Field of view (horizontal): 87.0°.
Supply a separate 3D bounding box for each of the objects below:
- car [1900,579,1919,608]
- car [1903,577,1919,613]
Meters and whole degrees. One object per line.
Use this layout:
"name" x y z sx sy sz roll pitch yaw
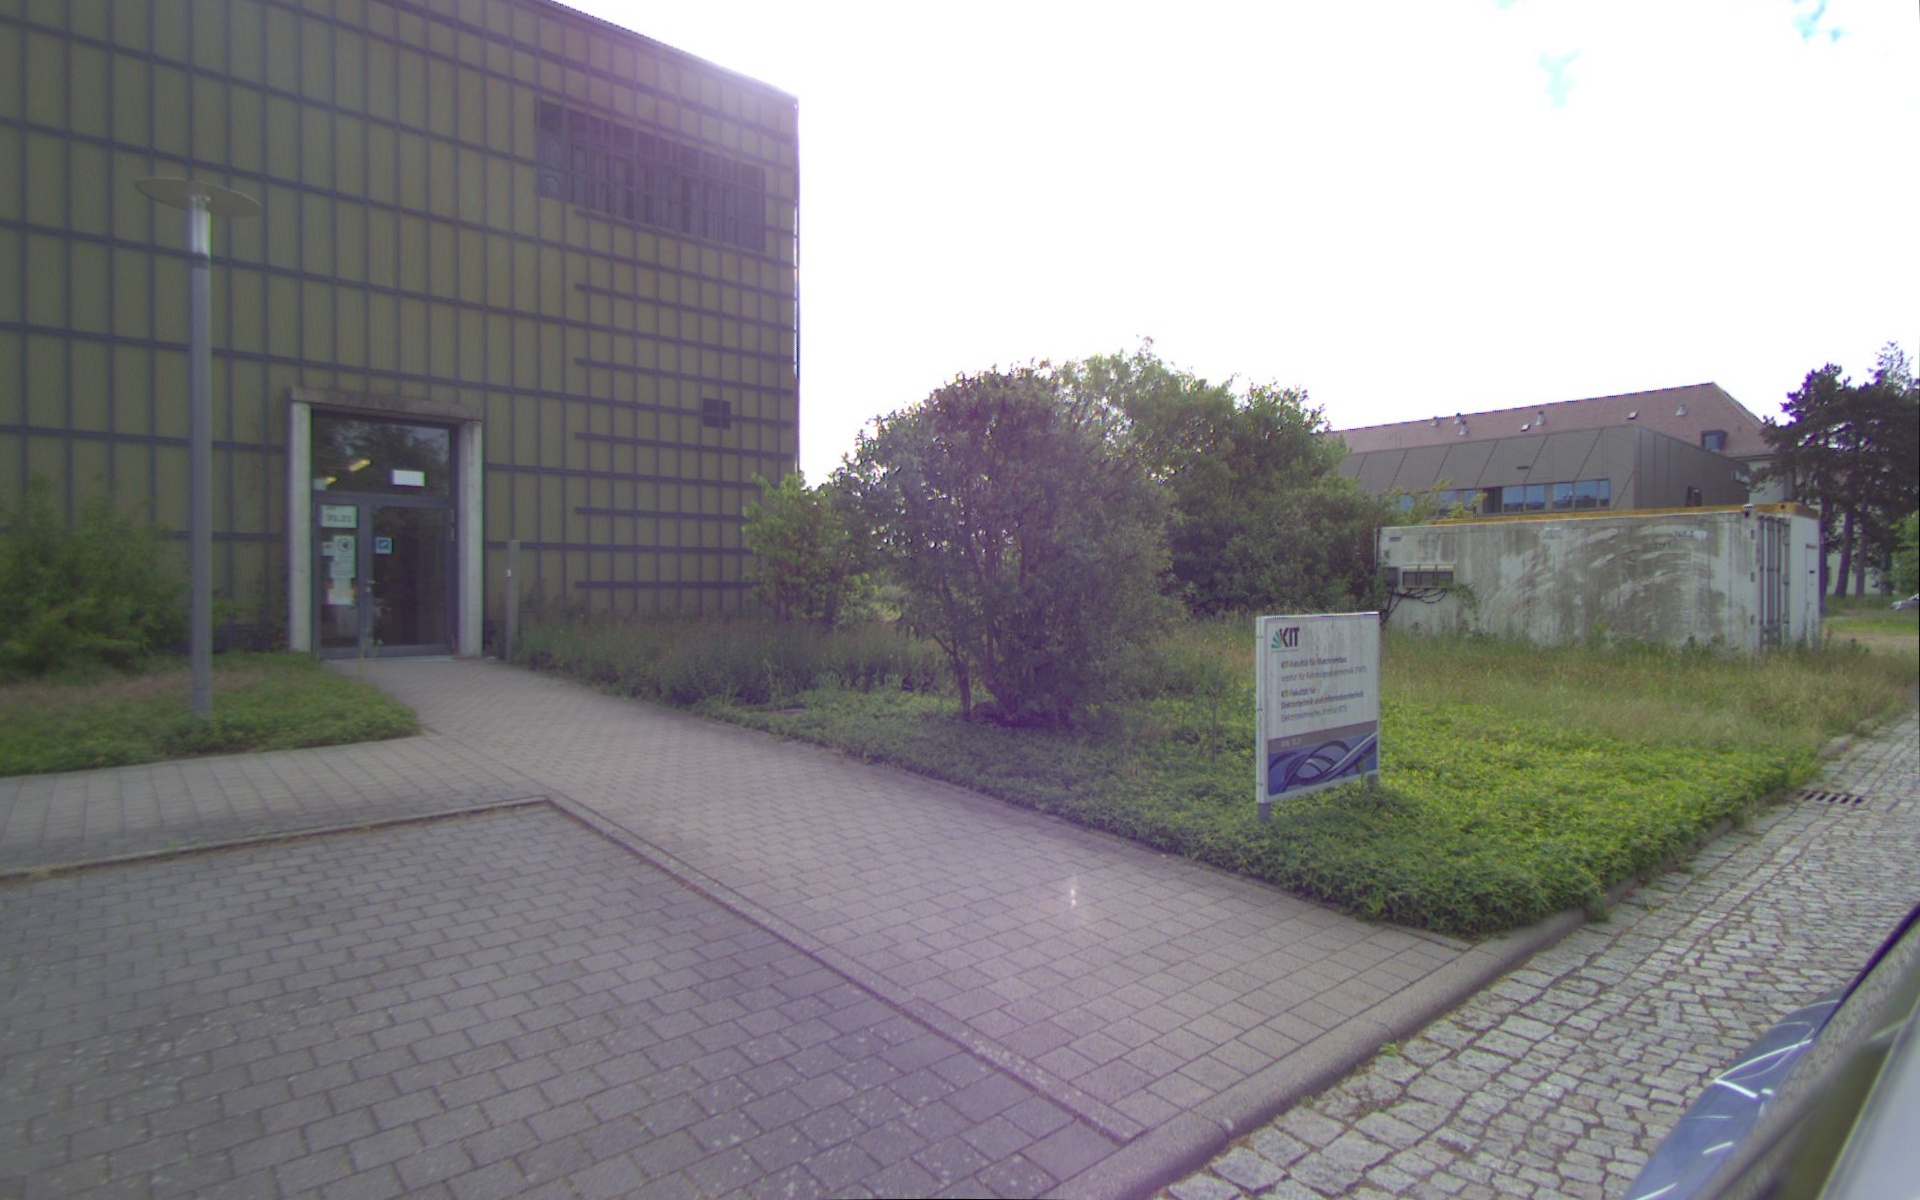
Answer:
"car" 49.978 -0.256 50.376 1.899 1.467 4.532 -1 3 -42
"car" 44.575 -0.182 45.675 1.653 1.601 2.747 0 3 -40
